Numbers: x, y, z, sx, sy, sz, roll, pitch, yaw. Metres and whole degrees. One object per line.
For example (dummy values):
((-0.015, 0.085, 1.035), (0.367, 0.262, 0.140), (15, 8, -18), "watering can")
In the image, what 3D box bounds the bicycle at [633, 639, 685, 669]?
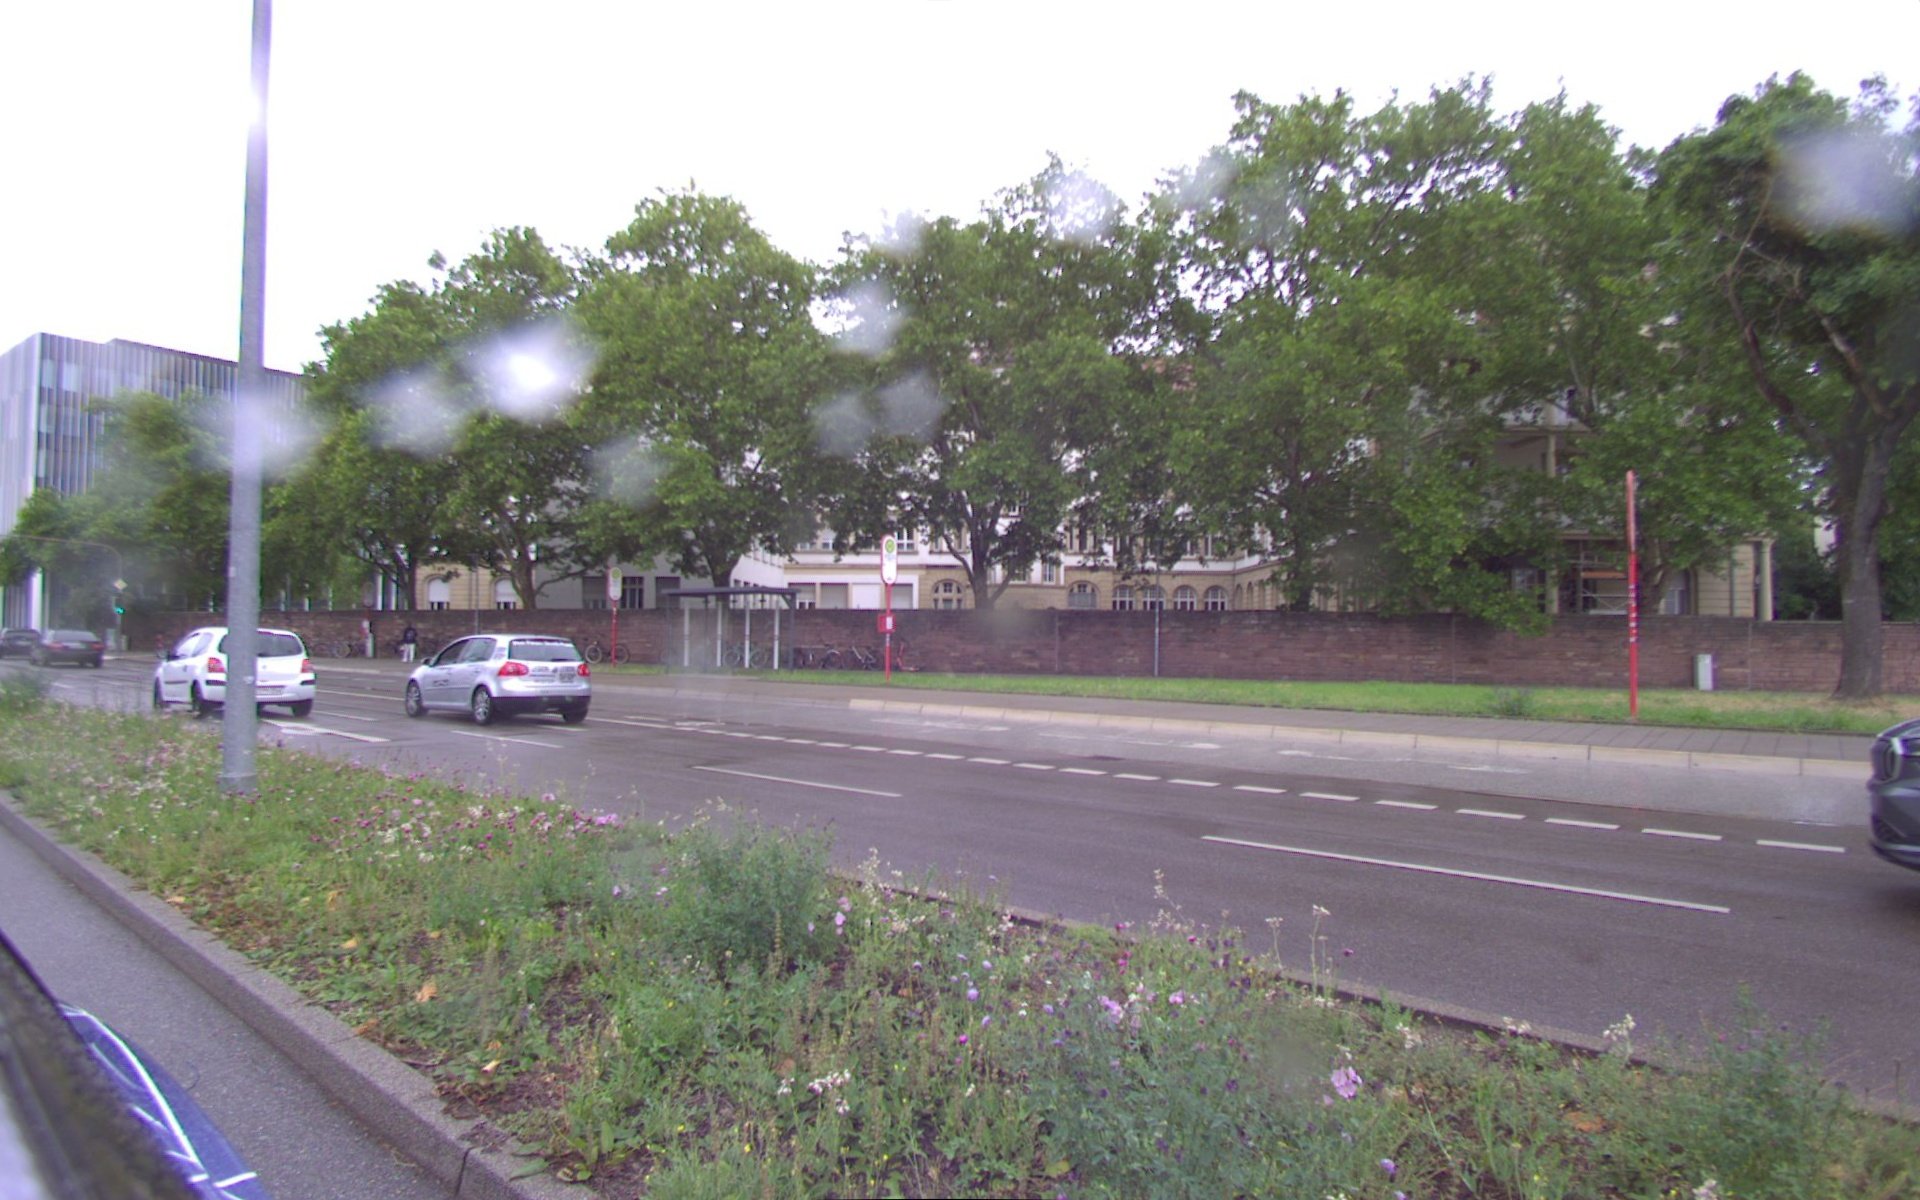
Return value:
((-11.723, 2.112, 39.466), (1.975, 1.144, 0.571), (-1, -3, 19), "bicycle")

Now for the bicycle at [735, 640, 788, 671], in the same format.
((-7.486, 2.086, 38.087), (1.978, 1.144, 0.570), (-1, -3, 23), "bicycle")

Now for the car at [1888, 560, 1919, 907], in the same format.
((6.924, 0.648, 4.073), (4.600, 1.648, 1.972), (-1, -4, 41), "car")

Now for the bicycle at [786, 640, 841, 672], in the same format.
((-5.398, 2.050, 37.216), (1.978, 1.144, 0.570), (-1, -3, 23), "bicycle")

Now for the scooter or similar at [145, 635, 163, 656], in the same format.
((-46.572, 2.628, 58.459), (1.139, 1.206, 0.388), (-1, 4, 34), "scooter or similar")

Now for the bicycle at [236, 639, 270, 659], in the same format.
((-36.612, 2.535, 52.420), (1.693, 0.990, 0.726), (-1, -2, 28), "bicycle")

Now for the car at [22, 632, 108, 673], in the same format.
((-35.998, 2.108, 40.659), (4.698, 1.552, 1.790), (-1, -4, 39), "car")

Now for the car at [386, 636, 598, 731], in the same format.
((-8.044, 1.338, 17.247), (4.155, 1.415, 1.662), (-2, -4, 40), "car")

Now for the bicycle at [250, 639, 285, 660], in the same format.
((-35.017, 2.493, 51.178), (1.693, 0.990, 0.726), (-1, -2, 28), "bicycle")

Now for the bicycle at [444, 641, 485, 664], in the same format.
((-21.456, 2.270, 43.785), (1.693, 0.990, 0.726), (-1, -2, 28), "bicycle")

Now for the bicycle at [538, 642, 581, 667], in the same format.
((-16.476, 2.228, 41.592), (1.693, 0.990, 0.726), (-1, -2, 28), "bicycle")

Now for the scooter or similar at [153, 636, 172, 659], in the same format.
((-45.100, 2.677, 57.249), (1.138, 1.206, 0.388), (-1, 4, 32), "scooter or similar")

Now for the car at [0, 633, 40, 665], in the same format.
((-44.917, 2.287, 47.727), (4.062, 1.426, 1.607), (-1, -4, 39), "car")

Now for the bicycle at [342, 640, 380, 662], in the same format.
((-28.085, 2.372, 47.435), (1.693, 0.990, 0.726), (-1, -2, 28), "bicycle")

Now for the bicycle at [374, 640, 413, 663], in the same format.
((-25.748, 2.324, 45.972), (1.693, 0.990, 0.726), (-1, -2, 28), "bicycle")

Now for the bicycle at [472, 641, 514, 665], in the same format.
((-19.563, 2.201, 42.392), (1.693, 0.990, 0.726), (-1, -2, 28), "bicycle")

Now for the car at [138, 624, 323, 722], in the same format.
((-12.619, 1.197, 17.433), (3.865, 1.513, 1.662), (-2, -4, 40), "car")

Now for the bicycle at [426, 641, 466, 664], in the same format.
((-22.605, 2.293, 44.494), (1.693, 0.990, 0.726), (-1, -2, 28), "bicycle")

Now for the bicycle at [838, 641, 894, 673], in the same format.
((-3.414, 2.062, 36.711), (1.978, 1.144, 0.570), (-1, -3, 23), "bicycle")

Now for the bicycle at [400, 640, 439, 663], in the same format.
((-24.167, 2.300, 45.237), (1.693, 0.990, 0.726), (-1, -2, 28), "bicycle")

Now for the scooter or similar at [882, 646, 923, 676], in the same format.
((-2.069, 2.177, 36.193), (1.353, 1.055, 0.569), (-1, -2, 23), "scooter or similar")

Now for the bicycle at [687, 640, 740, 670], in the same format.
((-9.447, 2.092, 38.711), (1.975, 1.144, 0.571), (-1, -3, 19), "bicycle")

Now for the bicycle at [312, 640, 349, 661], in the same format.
((-30.057, 2.399, 48.313), (1.693, 0.990, 0.726), (-1, -2, 28), "bicycle")

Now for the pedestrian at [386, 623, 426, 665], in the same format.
((-23.041, 1.834, 42.095), (1.395, 1.708, 0.861), (-1, -2, 33), "pedestrian")

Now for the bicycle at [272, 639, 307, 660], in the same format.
((-33.435, 2.472, 50.488), (1.693, 0.990, 0.726), (-1, -2, 28), "bicycle")
